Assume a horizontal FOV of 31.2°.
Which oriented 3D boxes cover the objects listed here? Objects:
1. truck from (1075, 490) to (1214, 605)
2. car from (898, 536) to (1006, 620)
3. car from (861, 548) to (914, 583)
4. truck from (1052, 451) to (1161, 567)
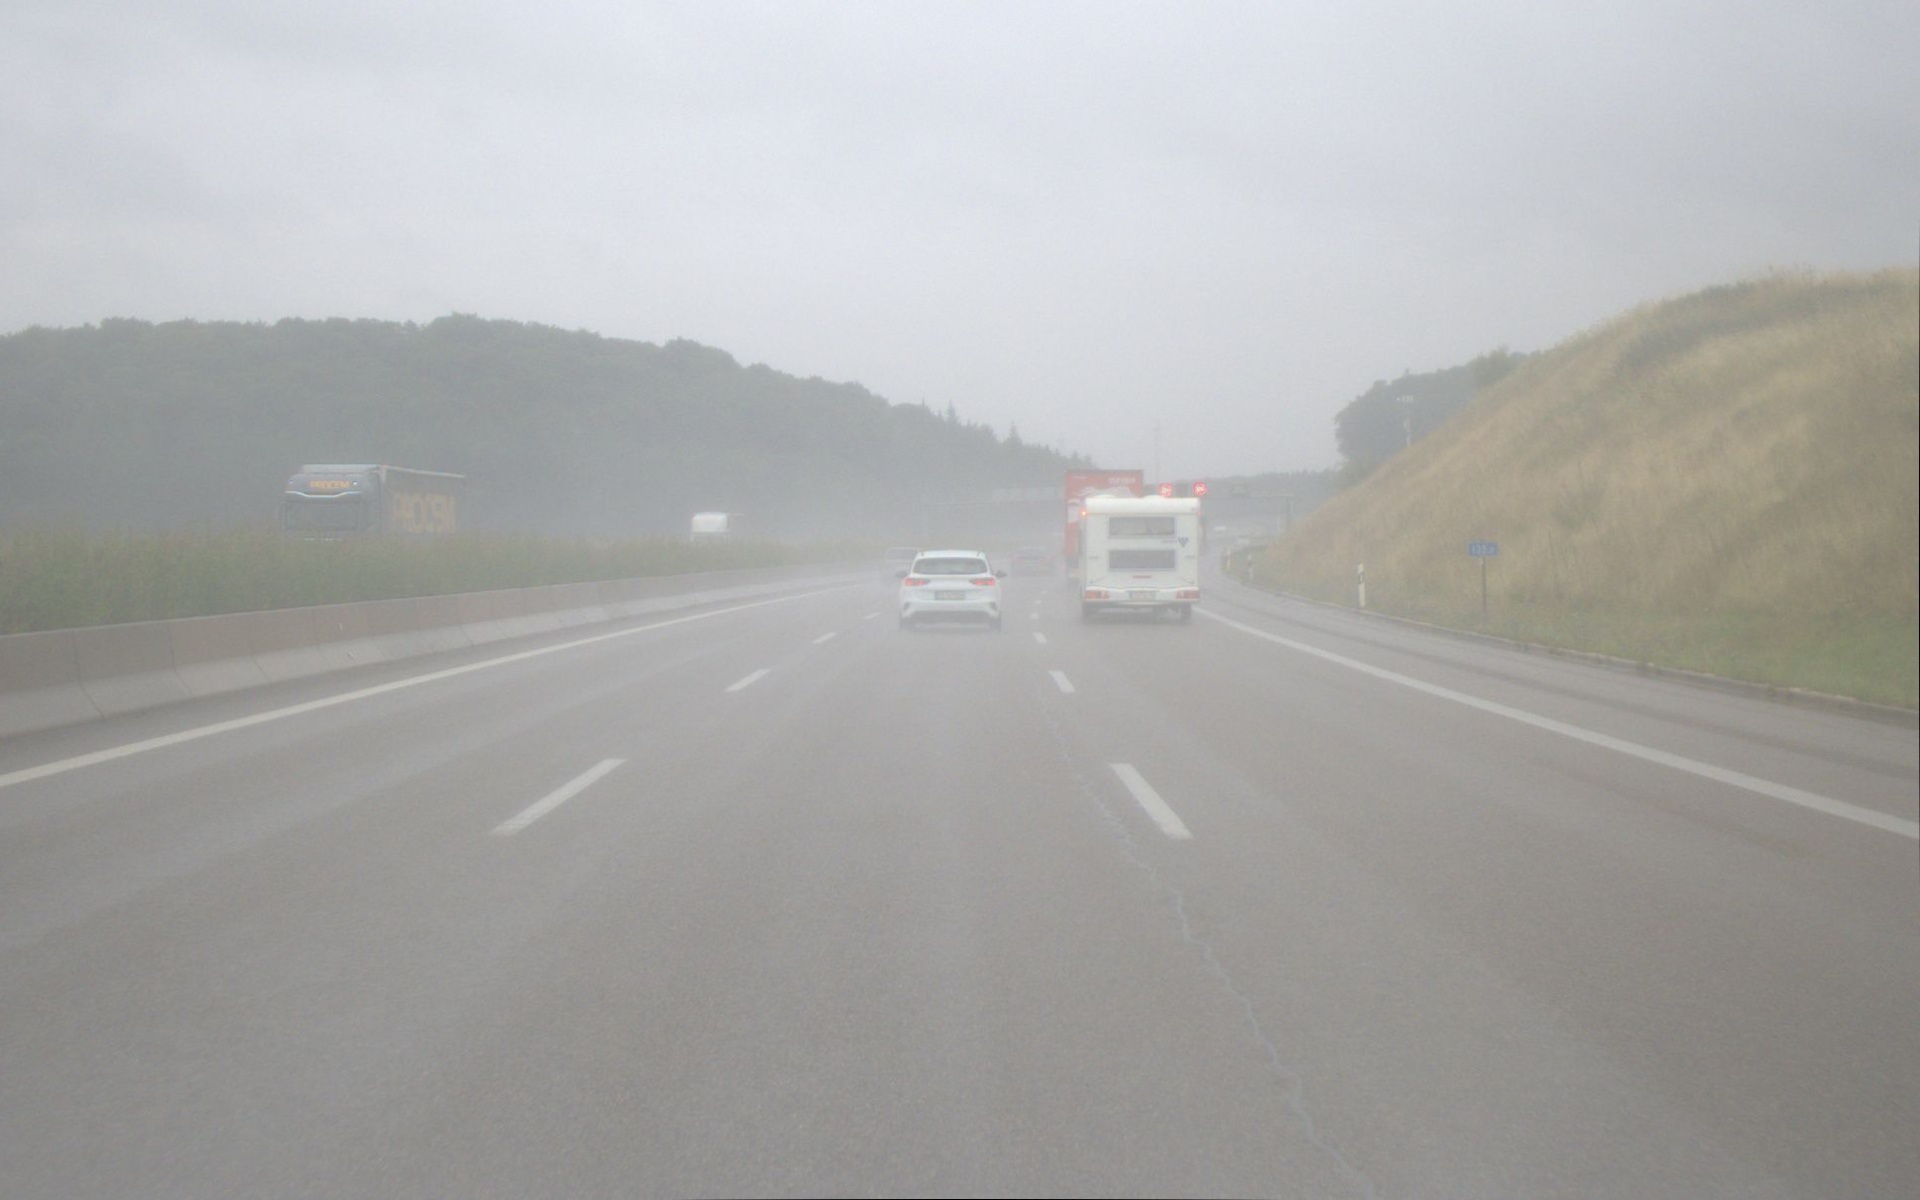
[{"bbox_3d":[3.659,-1.054,69.108,2.407,2.244,4.693,0,1,-2],"label":"truck"},{"bbox_3d":[-0.156,-0.389,61.470,1.867,1.458,4.000,0,0,-1],"label":"car"},{"bbox_3d":[-2.562,-1.210,121.785,1.823,1.152,4.213,0,0,0],"label":"car"},{"bbox_3d":[4.951,-3.133,117.668,3.527,3.730,11.426,1,2,2],"label":"truck"}]
